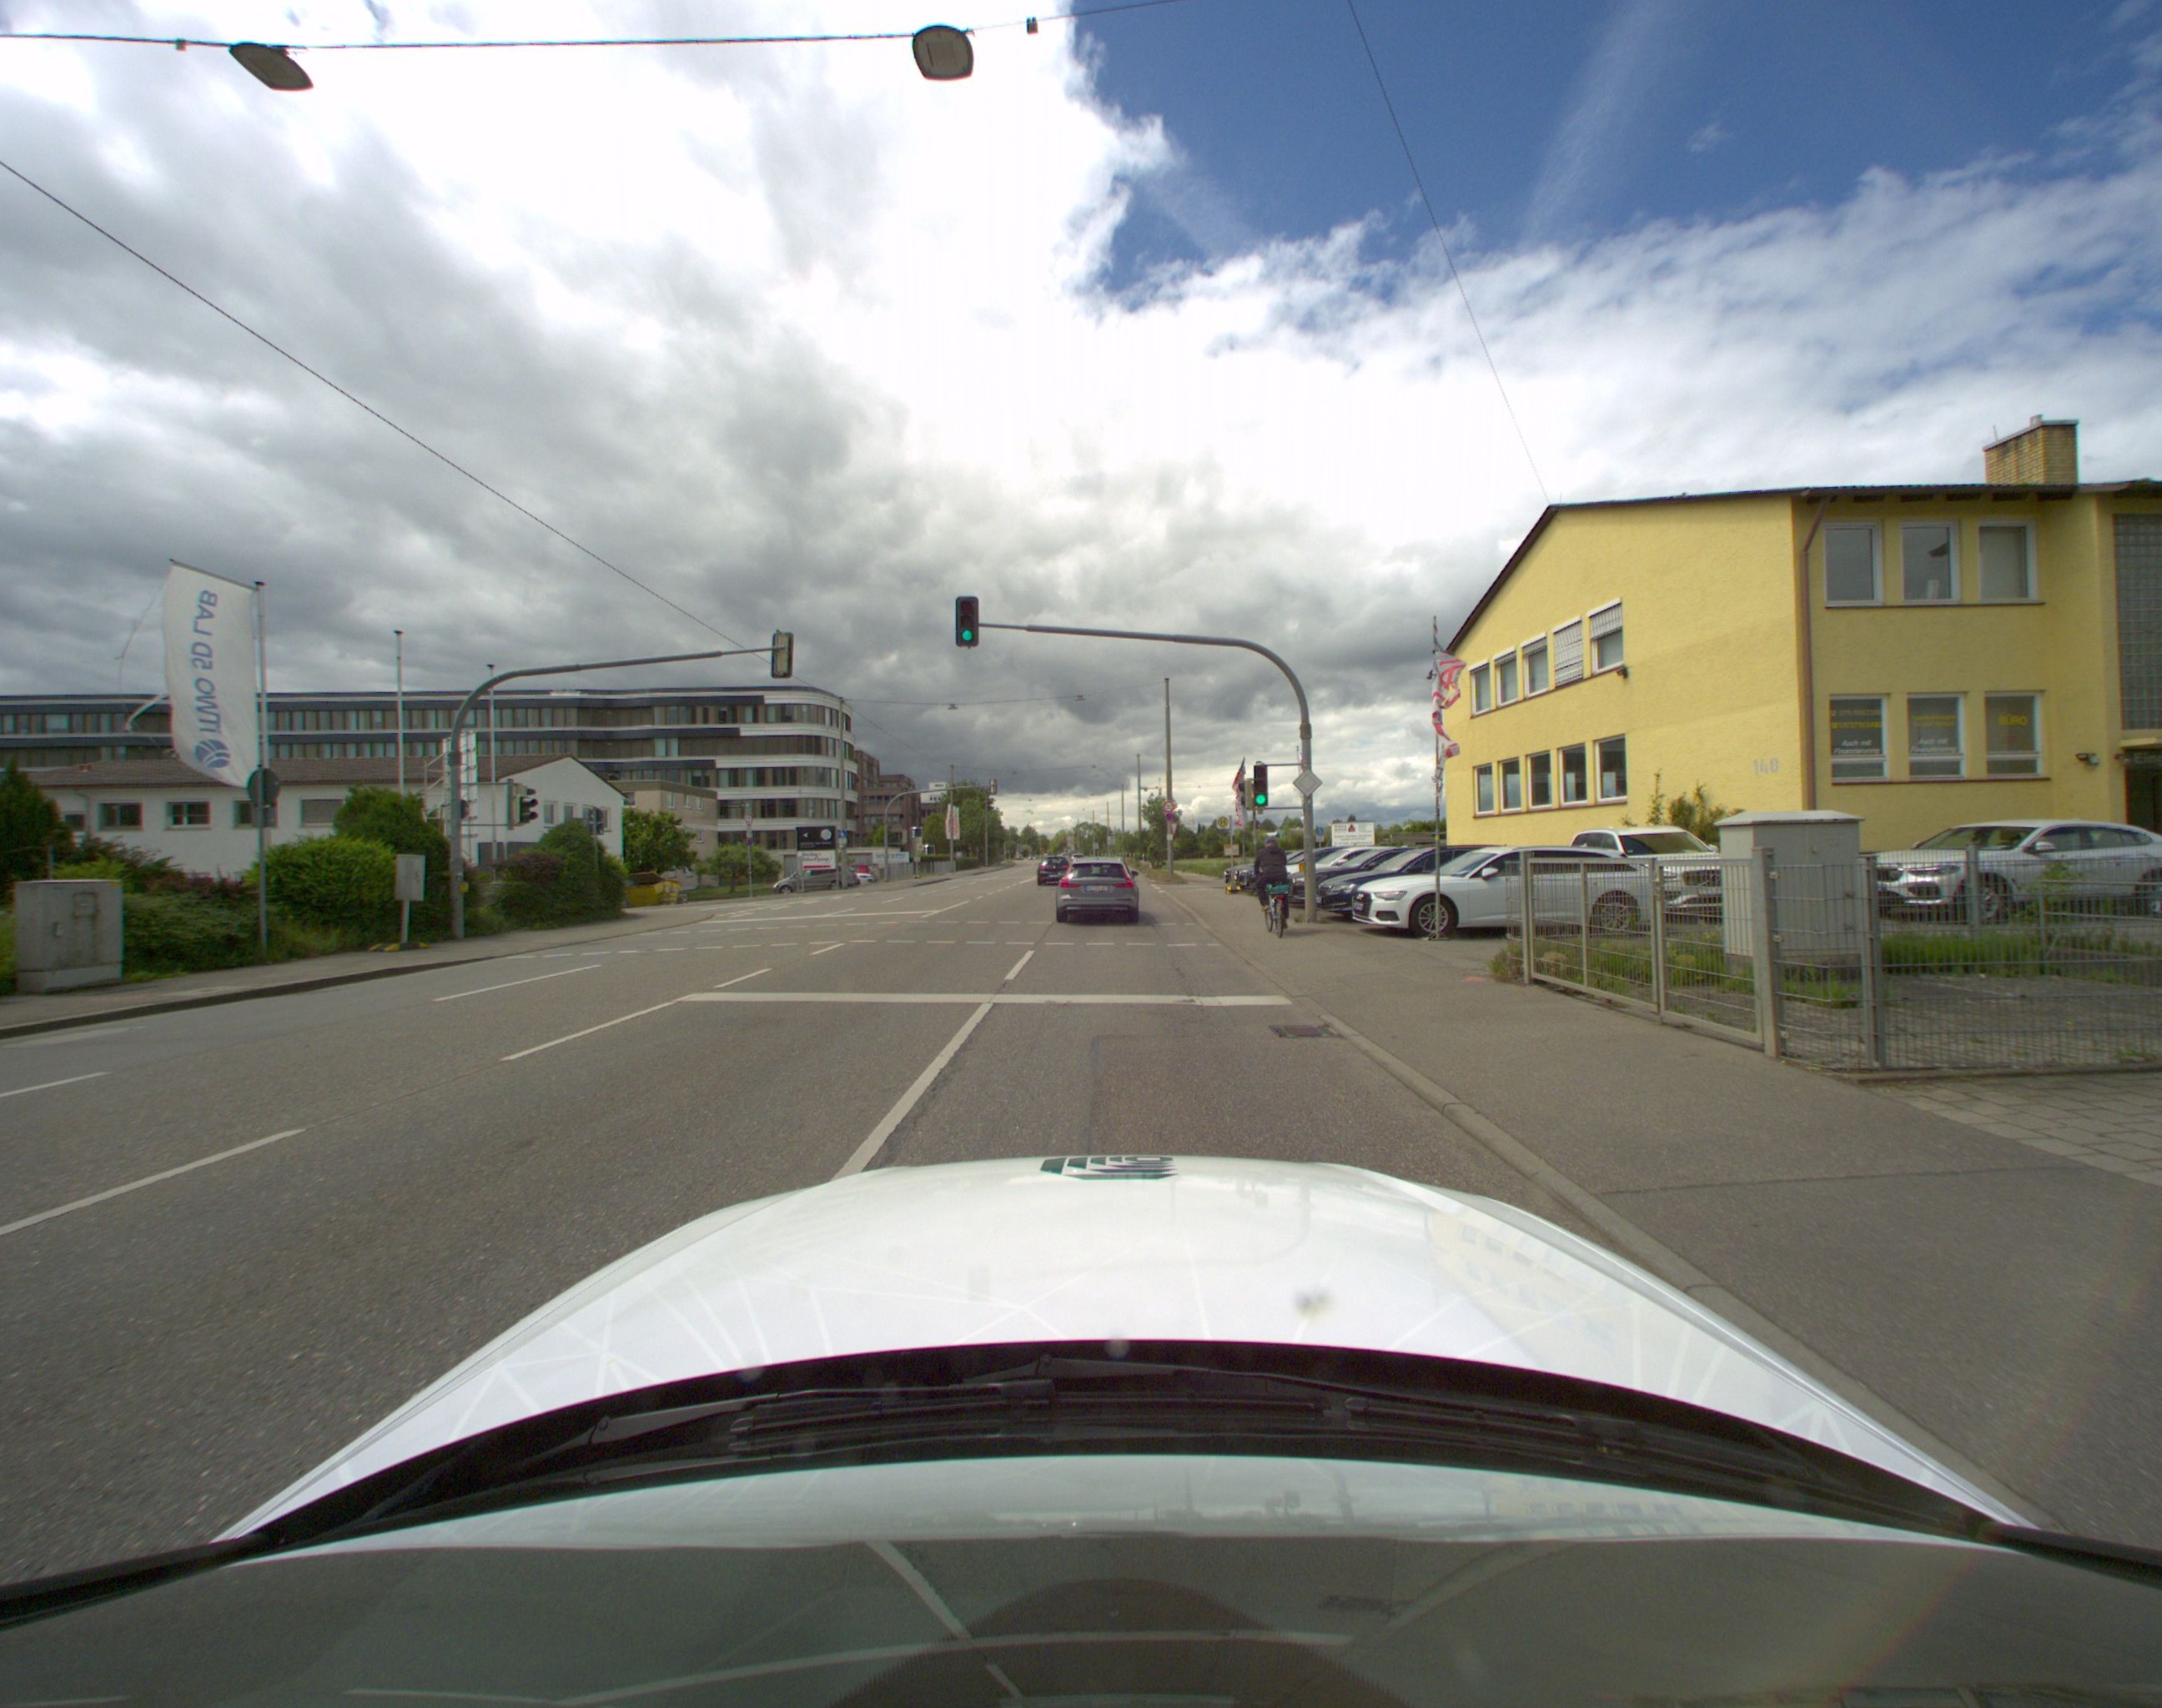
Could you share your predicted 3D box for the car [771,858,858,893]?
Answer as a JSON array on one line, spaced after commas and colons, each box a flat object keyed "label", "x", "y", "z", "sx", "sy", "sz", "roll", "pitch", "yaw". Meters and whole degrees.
[{"label": "car", "x": -14.691, "y": 1.178, "z": 45.051, "sx": 4.088, "sy": 1.397, "sz": 1.904, "roll": -7, "pitch": 1, "yaw": -6}]

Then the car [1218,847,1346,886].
[{"label": "car", "x": 7.432, "y": 0.478, "z": 30.450, "sx": 4.308, "sy": 1.398, "sz": 2.003, "roll": 1, "pitch": -2, "yaw": -1}]

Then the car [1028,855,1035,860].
[{"label": "car", "x": -14.796, "y": 0.961, "z": 245.341, "sx": 1.876, "sy": 1.520, "sz": 3.999, "roll": 1, "pitch": -1, "yaw": -1}]

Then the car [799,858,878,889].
[{"label": "car", "x": -14.843, "y": 1.196, "z": 50.025, "sx": 4.217, "sy": 1.387, "sz": 1.981, "roll": -7, "pitch": -1, "yaw": -5}]

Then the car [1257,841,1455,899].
[{"label": "car", "x": 7.418, "y": 0.416, "z": 22.375, "sx": 4.781, "sy": 1.480, "sz": 2.033, "roll": 1, "pitch": 0, "yaw": 2}]

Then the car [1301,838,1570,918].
[{"label": "car", "x": 7.106, "y": 0.459, "z": 16.715, "sx": 4.642, "sy": 1.493, "sz": 2.035, "roll": -1, "pitch": 0, "yaw": 1}]

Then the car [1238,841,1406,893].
[{"label": "car", "x": 7.334, "y": 0.389, "z": 25.195, "sx": 4.658, "sy": 1.493, "sz": 2.016, "roll": 0, "pitch": 0, "yaw": 2}]

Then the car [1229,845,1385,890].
[{"label": "car", "x": 7.619, "y": 0.435, "z": 27.822, "sx": 4.834, "sy": 1.430, "sz": 2.039, "roll": 1, "pitch": 0, "yaw": 1}]

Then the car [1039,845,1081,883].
[{"label": "car", "x": -1.007, "y": 0.489, "z": 40.067, "sx": 1.988, "sy": 1.717, "sz": 3.998, "roll": 1, "pitch": -1, "yaw": -1}]

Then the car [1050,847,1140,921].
[{"label": "car", "x": 0.388, "y": 0.661, "z": 19.358, "sx": 1.888, "sy": 1.554, "sz": 4.002, "roll": 1, "pitch": -1, "yaw": 3}]

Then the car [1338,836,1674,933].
[{"label": "car", "x": 7.012, "y": 0.471, "z": 13.856, "sx": 4.680, "sy": 1.493, "sz": 2.046, "roll": 0, "pitch": 0, "yaw": 0}]

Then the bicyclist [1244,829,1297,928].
[{"label": "bicyclist", "x": 3.386, "y": 0.422, "z": 14.594, "sx": 0.635, "sy": 1.675, "sz": 0.890, "roll": -5, "pitch": 0, "yaw": 1}]

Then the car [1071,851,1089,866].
[{"label": "car", "x": -0.107, "y": 0.518, "z": 94.148, "sx": 1.987, "sy": 1.695, "sz": 4.000, "roll": 1, "pitch": -1, "yaw": 1}]

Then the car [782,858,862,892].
[{"label": "car", "x": -15.093, "y": 1.214, "z": 47.601, "sx": 3.976, "sy": 1.424, "sz": 1.854, "roll": -7, "pitch": -1, "yaw": -1}]

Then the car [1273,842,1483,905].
[{"label": "car", "x": 7.039, "y": 0.443, "z": 19.617, "sx": 4.355, "sy": 1.404, "sz": 1.988, "roll": 0, "pitch": 0, "yaw": -1}]

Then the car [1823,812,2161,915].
[{"label": "car", "x": 15.262, "y": 0.137, "z": 13.581, "sx": 4.114, "sy": 1.581, "sz": 1.858, "roll": 0, "pitch": 0, "yaw": 0}]

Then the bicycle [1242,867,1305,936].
[{"label": "bicycle", "x": 3.423, "y": 0.805, "z": 14.610, "sx": 0.635, "sy": 1.063, "sz": 1.978, "roll": -5, "pitch": 0, "yaw": 2}]

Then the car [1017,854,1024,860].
[{"label": "car", "x": -18.207, "y": 0.819, "z": 244.364, "sx": 1.876, "sy": 1.717, "sz": 3.999, "roll": 1, "pitch": -1, "yaw": -1}]

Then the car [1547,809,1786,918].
[{"label": "car", "x": 11.467, "y": 0.204, "z": 16.488, "sx": 1.963, "sy": 1.821, "sz": 5.045, "roll": -2, "pitch": -1, "yaw": 11}]

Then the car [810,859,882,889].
[{"label": "car", "x": -15.178, "y": 1.282, "z": 52.734, "sx": 3.976, "sy": 1.369, "sz": 1.847, "roll": -7, "pitch": -1, "yaw": -1}]
